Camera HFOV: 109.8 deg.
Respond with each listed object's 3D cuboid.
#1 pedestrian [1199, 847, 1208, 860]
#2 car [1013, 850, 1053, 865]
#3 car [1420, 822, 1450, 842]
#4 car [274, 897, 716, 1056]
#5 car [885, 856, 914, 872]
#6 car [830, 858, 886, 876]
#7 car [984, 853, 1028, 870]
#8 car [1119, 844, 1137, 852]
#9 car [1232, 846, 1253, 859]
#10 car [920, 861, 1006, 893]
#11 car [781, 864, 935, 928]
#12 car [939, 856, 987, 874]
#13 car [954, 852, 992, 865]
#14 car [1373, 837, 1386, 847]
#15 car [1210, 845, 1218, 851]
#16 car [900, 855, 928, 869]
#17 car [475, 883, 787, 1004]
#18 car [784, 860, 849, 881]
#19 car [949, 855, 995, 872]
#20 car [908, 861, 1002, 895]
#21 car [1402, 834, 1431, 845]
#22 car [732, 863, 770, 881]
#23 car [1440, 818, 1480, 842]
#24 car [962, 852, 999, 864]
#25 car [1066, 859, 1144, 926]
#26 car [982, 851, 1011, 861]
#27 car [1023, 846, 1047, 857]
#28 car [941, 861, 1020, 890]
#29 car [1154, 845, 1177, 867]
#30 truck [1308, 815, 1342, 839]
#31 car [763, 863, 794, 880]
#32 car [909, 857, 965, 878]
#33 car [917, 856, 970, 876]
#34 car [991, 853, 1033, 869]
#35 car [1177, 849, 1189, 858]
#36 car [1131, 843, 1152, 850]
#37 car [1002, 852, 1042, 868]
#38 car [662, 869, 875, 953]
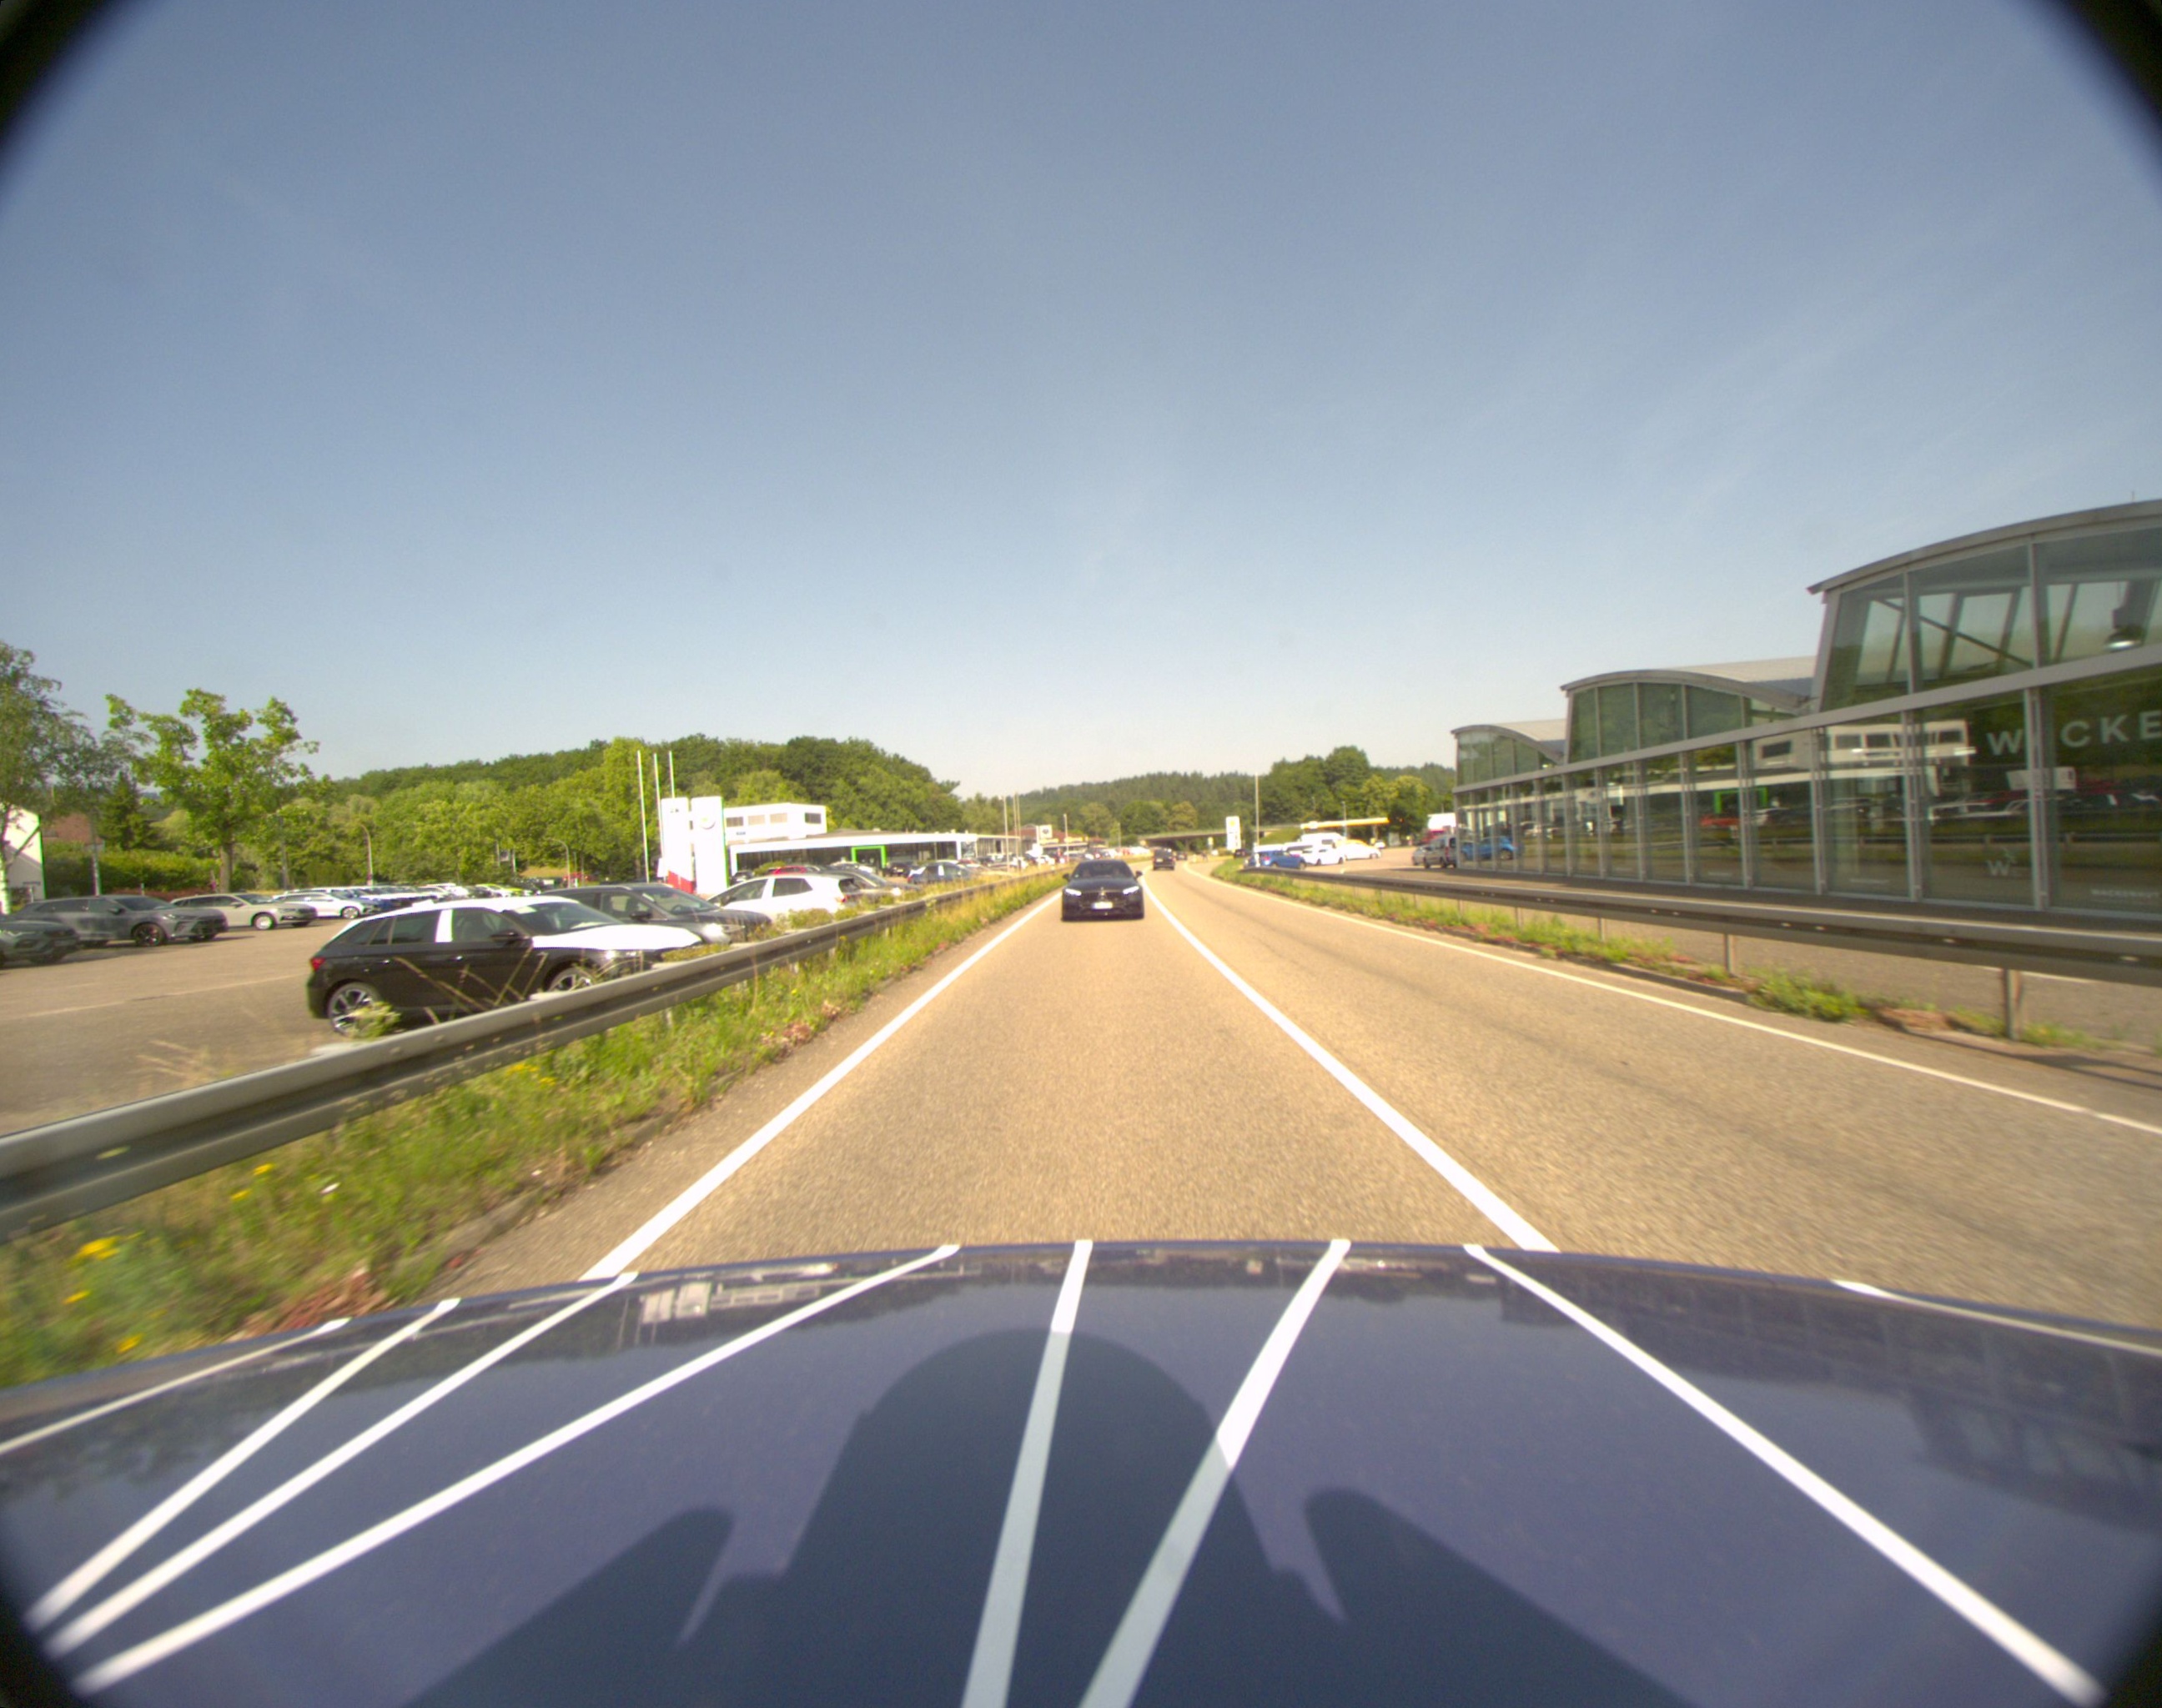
[{"bbox_3d":[16.624,-0.066,102.891,0.848,1.680,1.145,-2,1,26],"label":"pedestrian"},{"bbox_3d":[-5.619,0.432,89.483,4.456,1.591,1.855,-2,1,7],"label":"car"},{"bbox_3d":[45.426,-2.809,97.522,1.884,2.372,5.225,-3,0,7],"label":"car"},{"bbox_3d":[-6.809,1.391,9.114,3.996,1.512,1.698,-2,0,3],"label":"car"},{"bbox_3d":[-18.953,1.041,79.104,1.934,1.556,4.741,-2,1,-26],"label":"car"},{"bbox_3d":[-21.279,1.221,72.641,4.745,1.556,1.933,-2,1,8],"label":"car"},{"bbox_3d":[-7.637,0.744,77.292,4.085,1.600,1.793,-2,1,5],"label":"car"},{"bbox_3d":[10.199,-1.322,164.076,3.543,1.456,1.806,-1,1,13],"label":"car"},{"bbox_3d":[22.409,-0.183,105.481,1.813,1.620,4.550,-1,-2,25],"label":"car"},{"bbox_3d":[-6.181,1.193,40.194,4.168,1.547,1.771,-1,1,4],"label":"car"},{"bbox_3d":[-6.664,1.236,22.998,3.996,1.630,1.888,-2,1,3],"label":"car"},{"bbox_3d":[-10.948,0.992,70.819,3.995,1.437,1.825,-2,1,6],"label":"car"},{"bbox_3d":[-14.214,0.604,99.765,4.708,1.480,1.793,-1,1,29],"label":"car"},{"bbox_3d":[46.681,-1.874,118.923,1.717,1.557,4.663,-3,0,19],"label":"car"},{"bbox_3d":[34.405,-1.466,196.301,1.680,1.464,3.710,-1,1,13],"label":"car"},{"bbox_3d":[-20.031,0.934,91.021,1.793,1.556,4.345,-2,1,-34],"label":"car"},{"bbox_3d":[-7.012,1.366,12.135,3.855,1.559,1.807,-2,1,3],"label":"car"},{"bbox_3d":[-22.129,1.405,63.672,4.745,1.556,1.933,-2,1,8],"label":"car"},{"bbox_3d":[-10.572,0.918,73.653,3.995,1.477,1.842,-2,1,6],"label":"car"},{"bbox_3d":[-6.117,1.167,37.120,4.168,1.536,1.741,-1,1,4],"label":"car"},{"bbox_3d":[57.143,-2.457,129.519,4.318,1.557,1.719,-3,0,-10],"label":"car"},{"bbox_3d":[-32.540,1.796,75.048,2.003,1.537,4.607,-2,1,-6],"label":"car"},{"bbox_3d":[48.790,-2.994,98.027,2.399,2.839,6.531,-3,0,7],"label":"car"},{"bbox_3d":[-13.623,0.510,102.670,4.709,1.556,1.793,-1,1,26],"label":"car"},{"bbox_3d":[0.574,0.881,19.164,1.716,1.382,4.147,-2,0,1],"label":"car"},{"bbox_3d":[-13.833,0.276,124.587,4.317,1.456,1.791,-1,1,9],"label":"car"},{"bbox_3d":[-8.770,-0.485,144.739,4.317,1.914,1.792,-1,1,12],"label":"car"},{"bbox_3d":[-5.652,1.186,42.984,4.168,1.482,1.732,-1,1,4],"label":"car"},{"bbox_3d":[7.522,0.175,67.747,1.918,1.874,4.912,-1,1,6],"label":"car"},{"bbox_3d":[46.908,-5.176,145.860,3.055,4.111,16.799,-2,1,28],"label":"truck"},{"bbox_3d":[-29.918,1.709,75.278,2.004,1.537,4.605,-2,1,-11],"label":"car"},{"bbox_3d":[-11.843,1.099,62.672,4.166,1.507,1.825,-2,1,3],"label":"car"},{"bbox_3d":[-11.844,1.066,65.455,4.101,1.507,1.825,-2,1,6],"label":"car"},{"bbox_3d":[-7.208,0.738,79.854,3.994,1.485,1.791,-2,1,8],"label":"car"},{"bbox_3d":[17.312,-0.046,129.023,1.755,1.466,4.289,-1,1,10],"label":"car"},{"bbox_3d":[14.031,-1.683,176.327,4.567,1.456,1.878,-1,1,13],"label":"car"},{"bbox_3d":[-6.377,0.671,82.266,3.994,1.485,1.731,-2,1,10],"label":"car"},{"bbox_3d":[-6.929,1.246,17.170,3.997,1.571,1.778,-2,1,-2],"label":"car"}]
